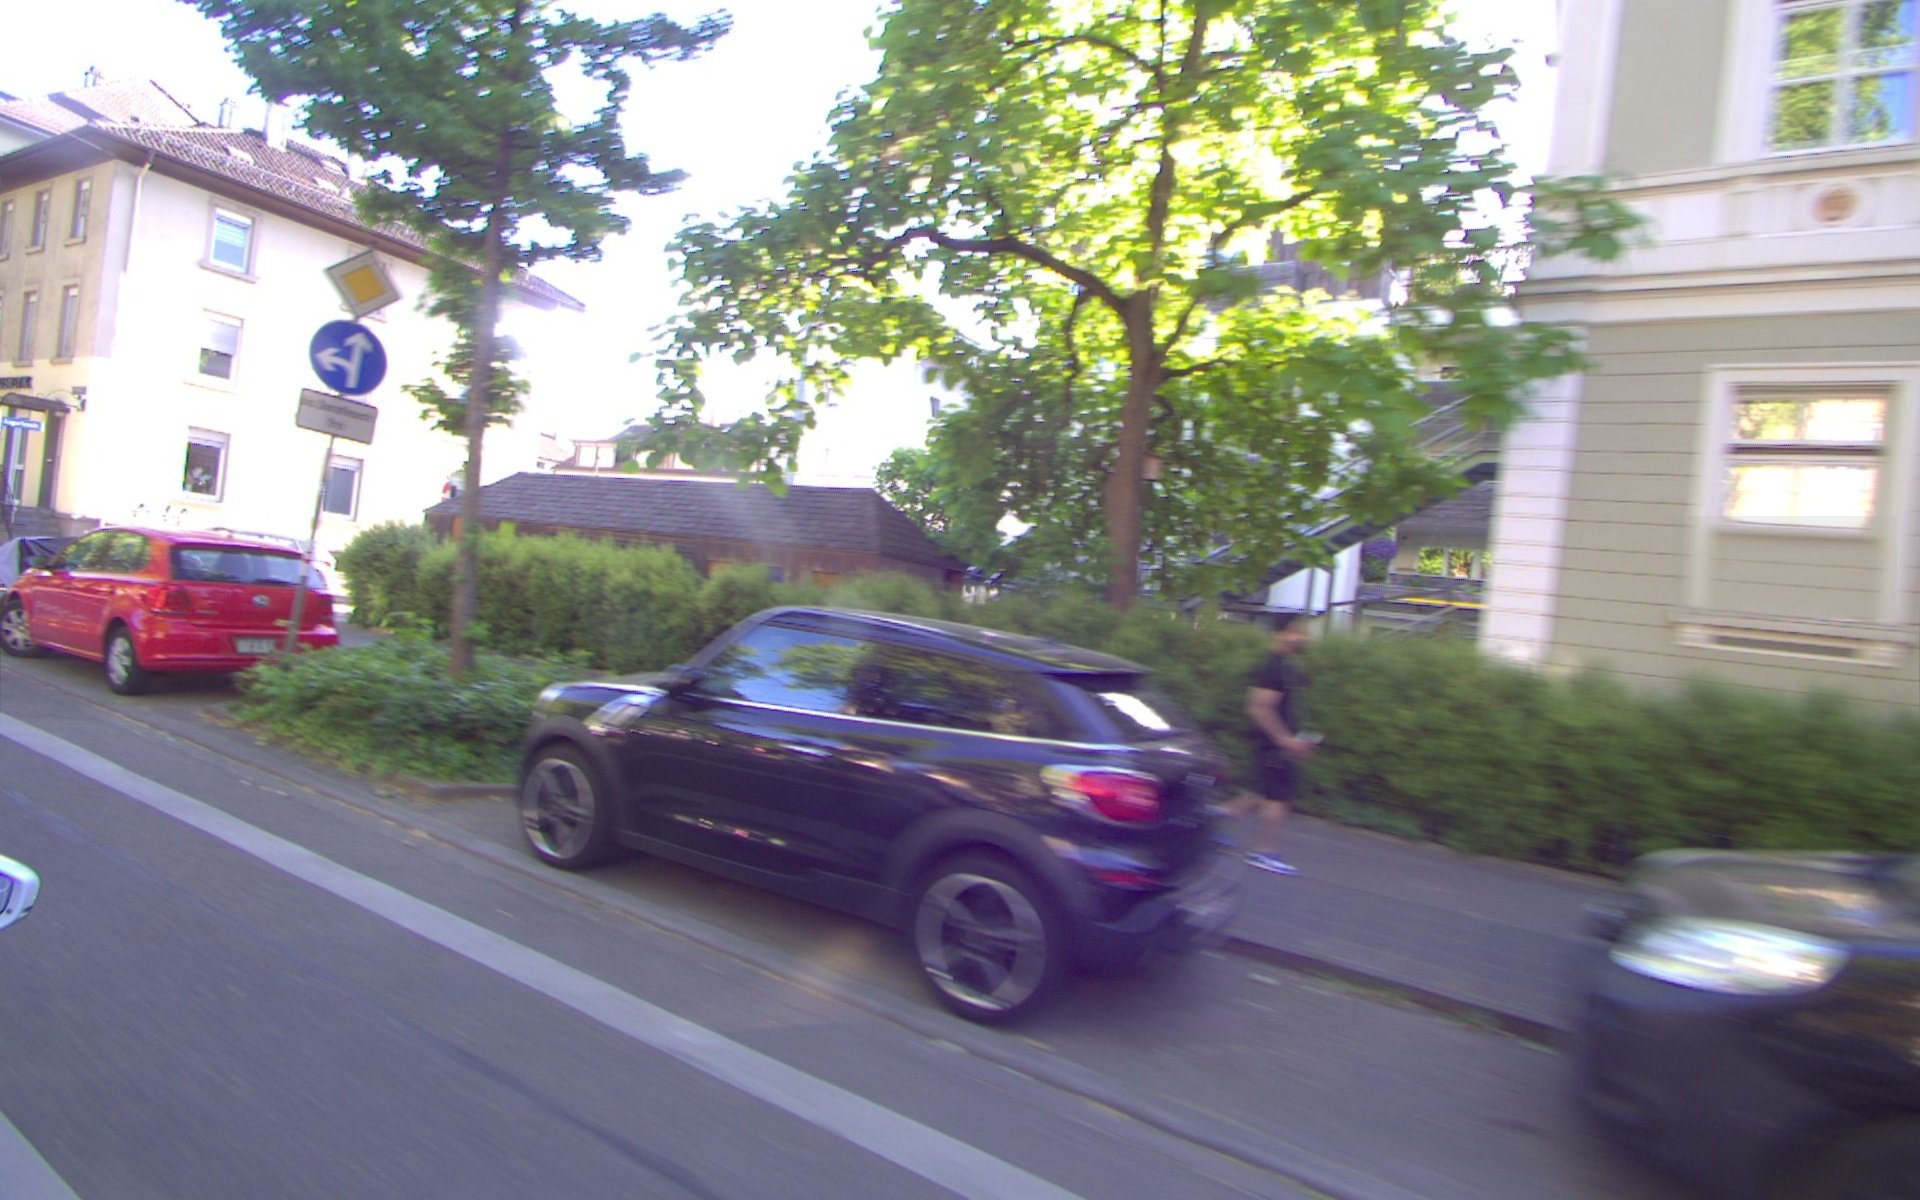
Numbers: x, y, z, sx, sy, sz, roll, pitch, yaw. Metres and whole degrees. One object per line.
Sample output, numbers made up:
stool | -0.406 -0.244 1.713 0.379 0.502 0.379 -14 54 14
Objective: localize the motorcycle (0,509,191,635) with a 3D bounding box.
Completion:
motorcycle | -10.907 -0.340 12.439 2.082 1.376 0.913 5 1 -42

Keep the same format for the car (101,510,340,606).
car | -17.790 -0.962 24.384 1.860 1.616 4.192 7 -2 35

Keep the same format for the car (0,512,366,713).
car | -7.759 0.029 9.795 3.912 1.442 1.703 6 2 31

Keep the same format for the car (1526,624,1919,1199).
car | 4.146 1.248 2.486 4.600 1.787 1.888 6 0 32

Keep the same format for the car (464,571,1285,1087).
car | -0.569 0.833 5.329 3.969 1.534 1.713 6 1 30

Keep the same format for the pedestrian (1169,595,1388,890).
pedestrian | 2.068 0.900 6.601 0.823 1.734 0.828 6 3 -29
